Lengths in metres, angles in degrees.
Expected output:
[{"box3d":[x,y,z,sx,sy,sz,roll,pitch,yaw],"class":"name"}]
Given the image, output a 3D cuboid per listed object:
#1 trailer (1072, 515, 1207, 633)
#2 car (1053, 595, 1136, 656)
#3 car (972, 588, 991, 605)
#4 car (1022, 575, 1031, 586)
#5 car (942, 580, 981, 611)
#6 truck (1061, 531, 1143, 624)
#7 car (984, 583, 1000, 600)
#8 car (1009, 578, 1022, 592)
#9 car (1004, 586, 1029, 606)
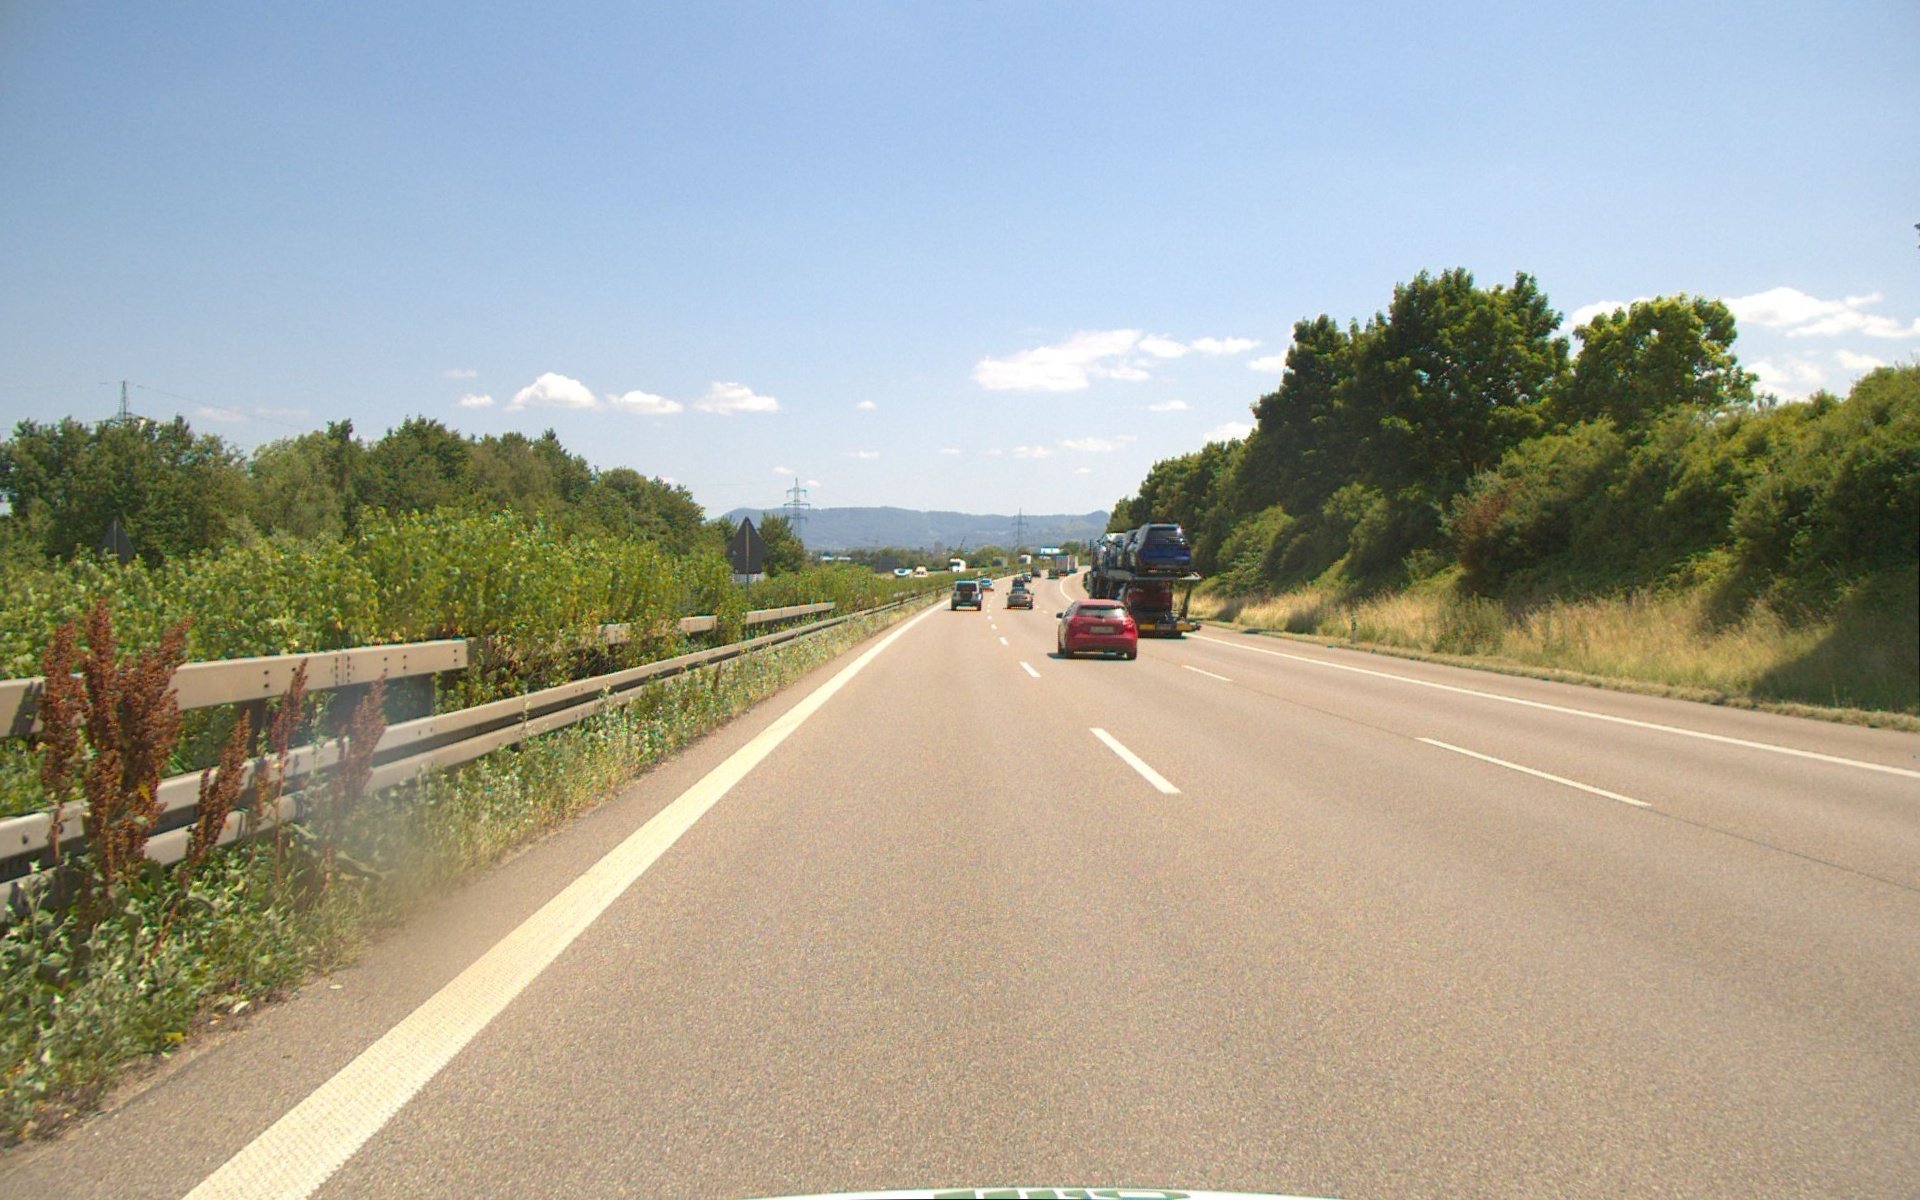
[{"box3d":[6.829,-0.980,65.608,2.798,4.063,15.387,1,0,-3],"class":"trailer"},{"box3d":[3.315,0.606,41.243,1.652,1.403,3.948,1,0,-1],"class":"car"},{"box3d":[1.924,-0.311,146.752,1.541,1.387,3.448,1,0,3],"class":"car"},{"box3d":[10.400,-3.086,258.386,1.367,1.734,3.003,1,0,3],"class":"car"},{"box3d":[0.082,-0.309,106.314,2.043,1.861,4.748,1,0,-5],"class":"car"},{"box3d":[6.330,-0.997,74.724,2.699,3.920,6.639,1,0,-4],"class":"truck"},{"box3d":[3.763,-1.001,196.042,1.662,2.049,3.824,1,0,3],"class":"car"},{"box3d":[7.343,-2.017,219.918,1.601,1.734,3.403,1,0,3],"class":"car"},{"box3d":[3.883,-0.290,114.051,1.423,1.289,3.538,1,0,-2],"class":"car"}]
